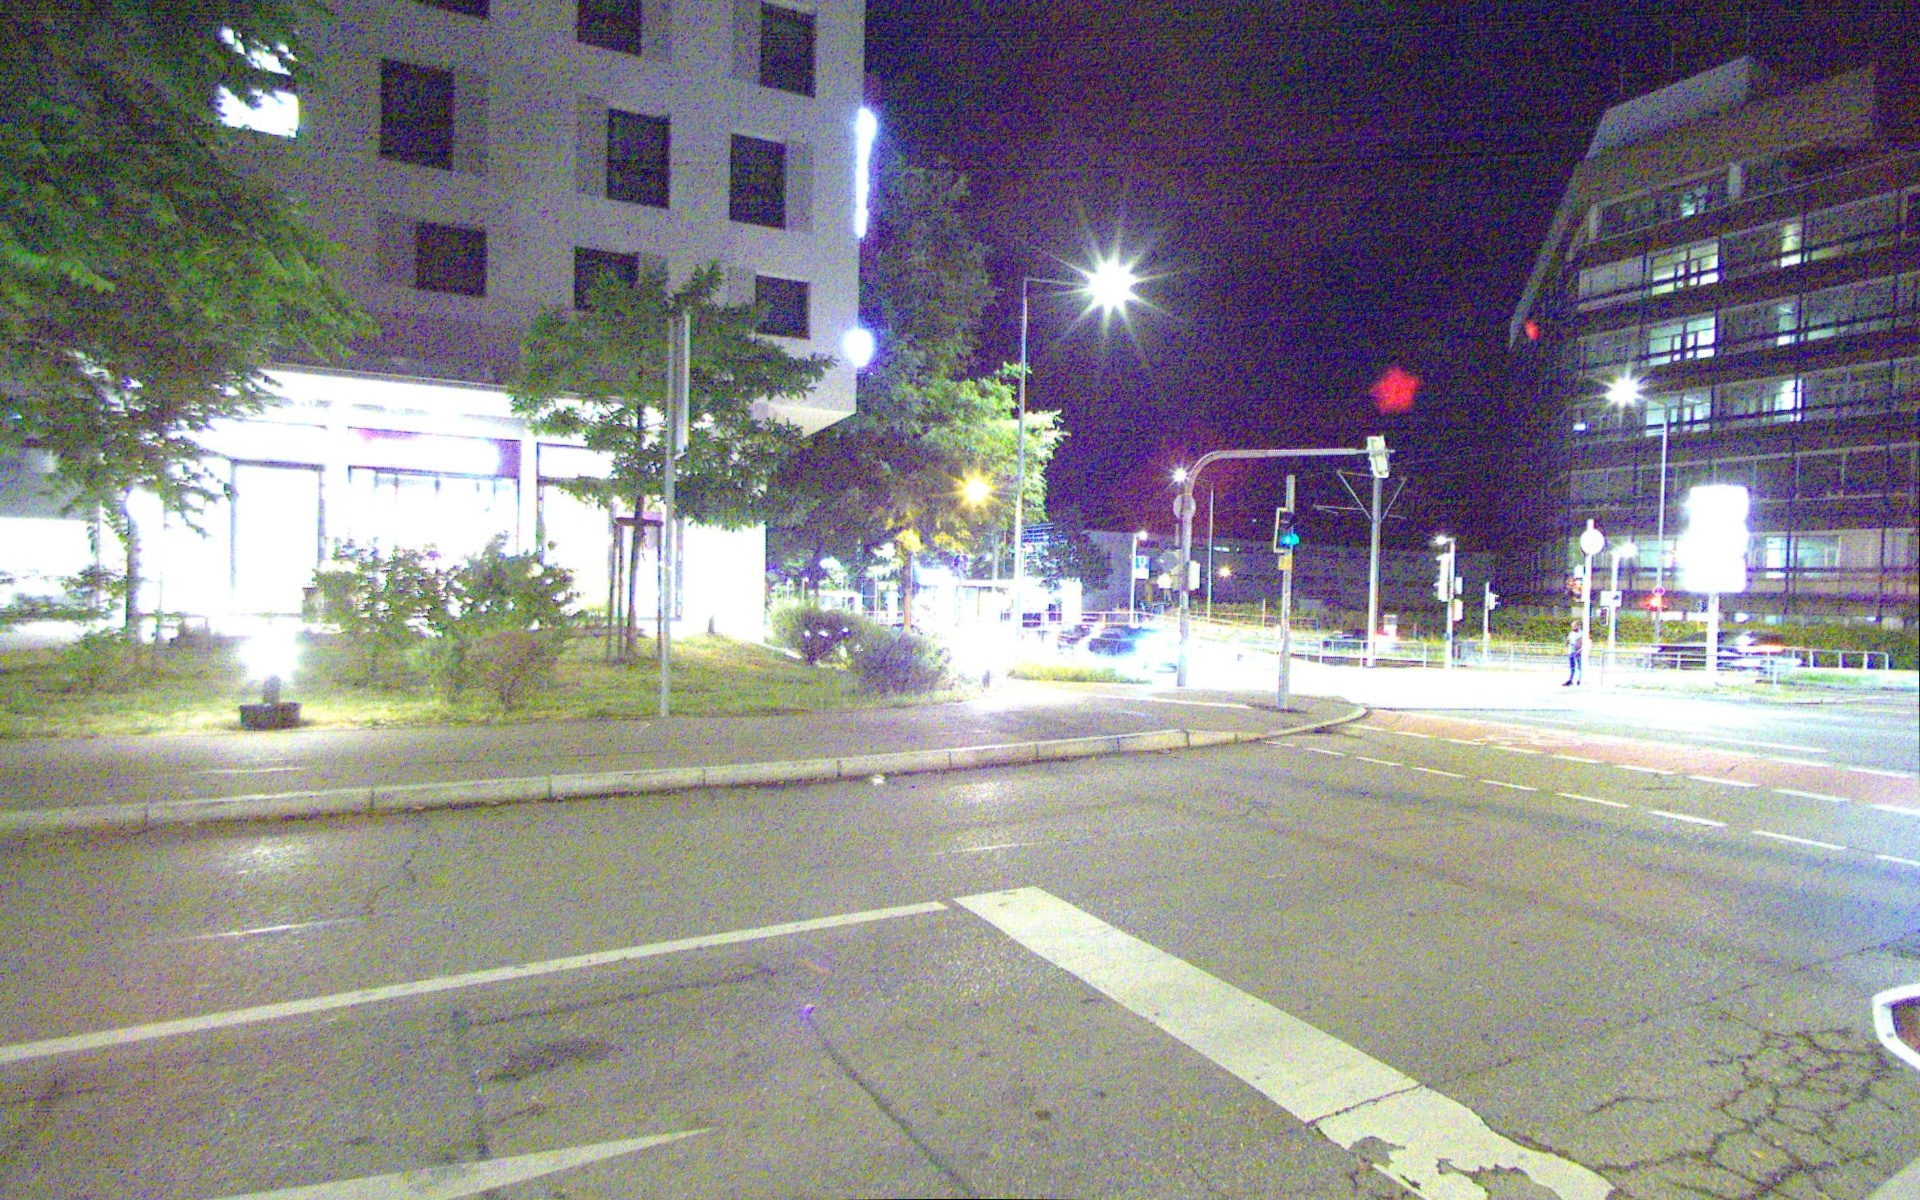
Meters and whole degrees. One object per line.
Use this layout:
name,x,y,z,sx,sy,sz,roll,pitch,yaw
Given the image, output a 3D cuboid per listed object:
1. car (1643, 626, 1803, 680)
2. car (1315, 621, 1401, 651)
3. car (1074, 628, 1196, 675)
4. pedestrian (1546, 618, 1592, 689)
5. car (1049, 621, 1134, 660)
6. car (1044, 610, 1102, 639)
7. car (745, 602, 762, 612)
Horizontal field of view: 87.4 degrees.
car,25.974,1.770,34.339,1.781,1.606,3.971,2,-1,-28
car,20.856,1.873,52.729,1.818,1.443,4.047,-1,0,-26
car,5.829,1.691,34.113,1.722,1.439,4.557,-2,-1,-26
pedestrian,15.661,1.366,25.826,0.693,1.745,0.679,2,0,-4
car,5.488,1.675,42.348,1.719,1.439,4.241,-1,0,-22
car,8.142,1.746,72.722,1.819,1.869,4.763,3,0,-26
car,-33.470,1.123,162.932,1.845,1.506,3.822,3,0,-26
